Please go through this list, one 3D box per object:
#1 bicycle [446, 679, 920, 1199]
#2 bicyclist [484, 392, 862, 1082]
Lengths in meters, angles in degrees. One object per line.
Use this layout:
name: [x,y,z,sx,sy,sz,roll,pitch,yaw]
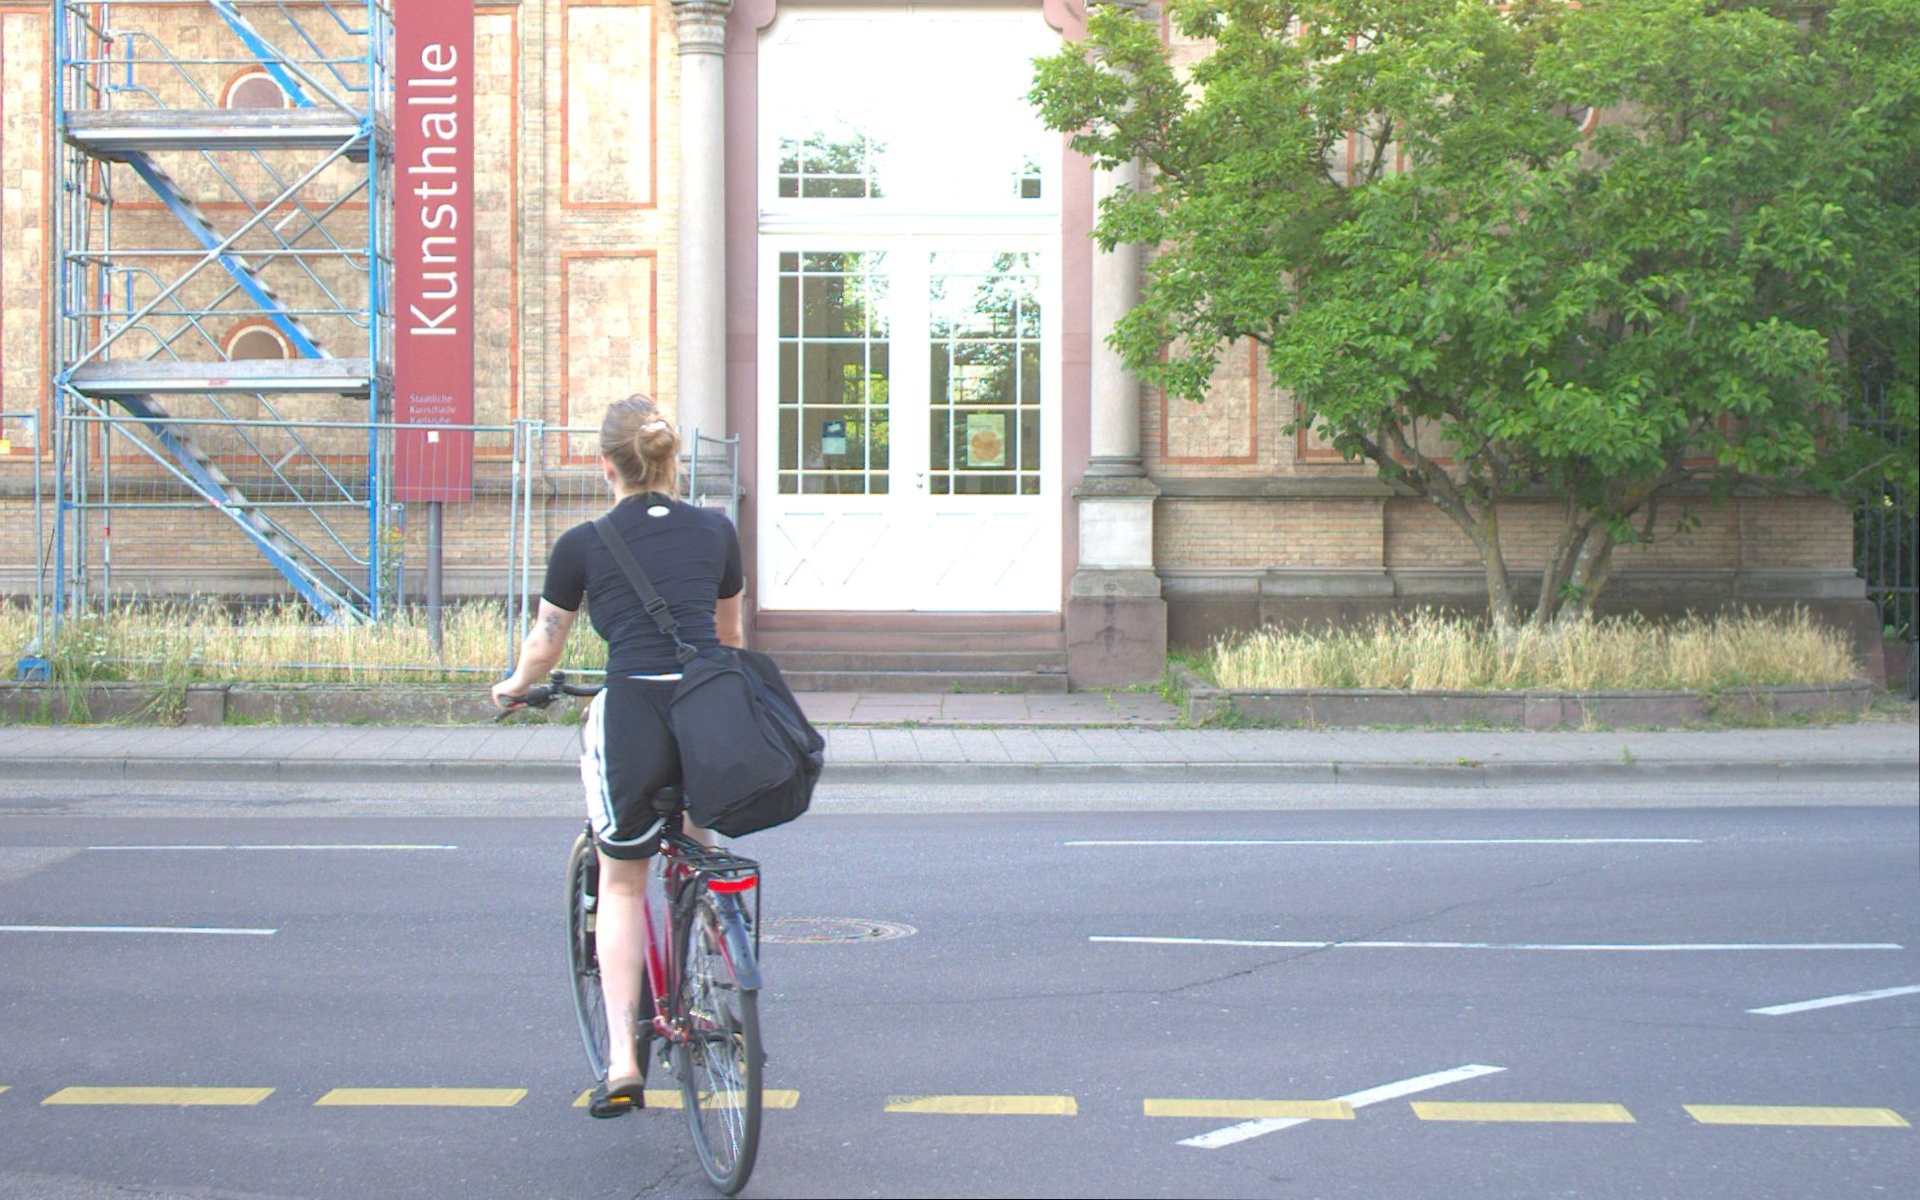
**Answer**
bicycle: [-0.709,0.779,8.023,0.711,1.152,2.069,0,-1,-16]
bicyclist: [-0.681,0.301,7.964,0.716,1.497,0.851,0,-1,-16]
